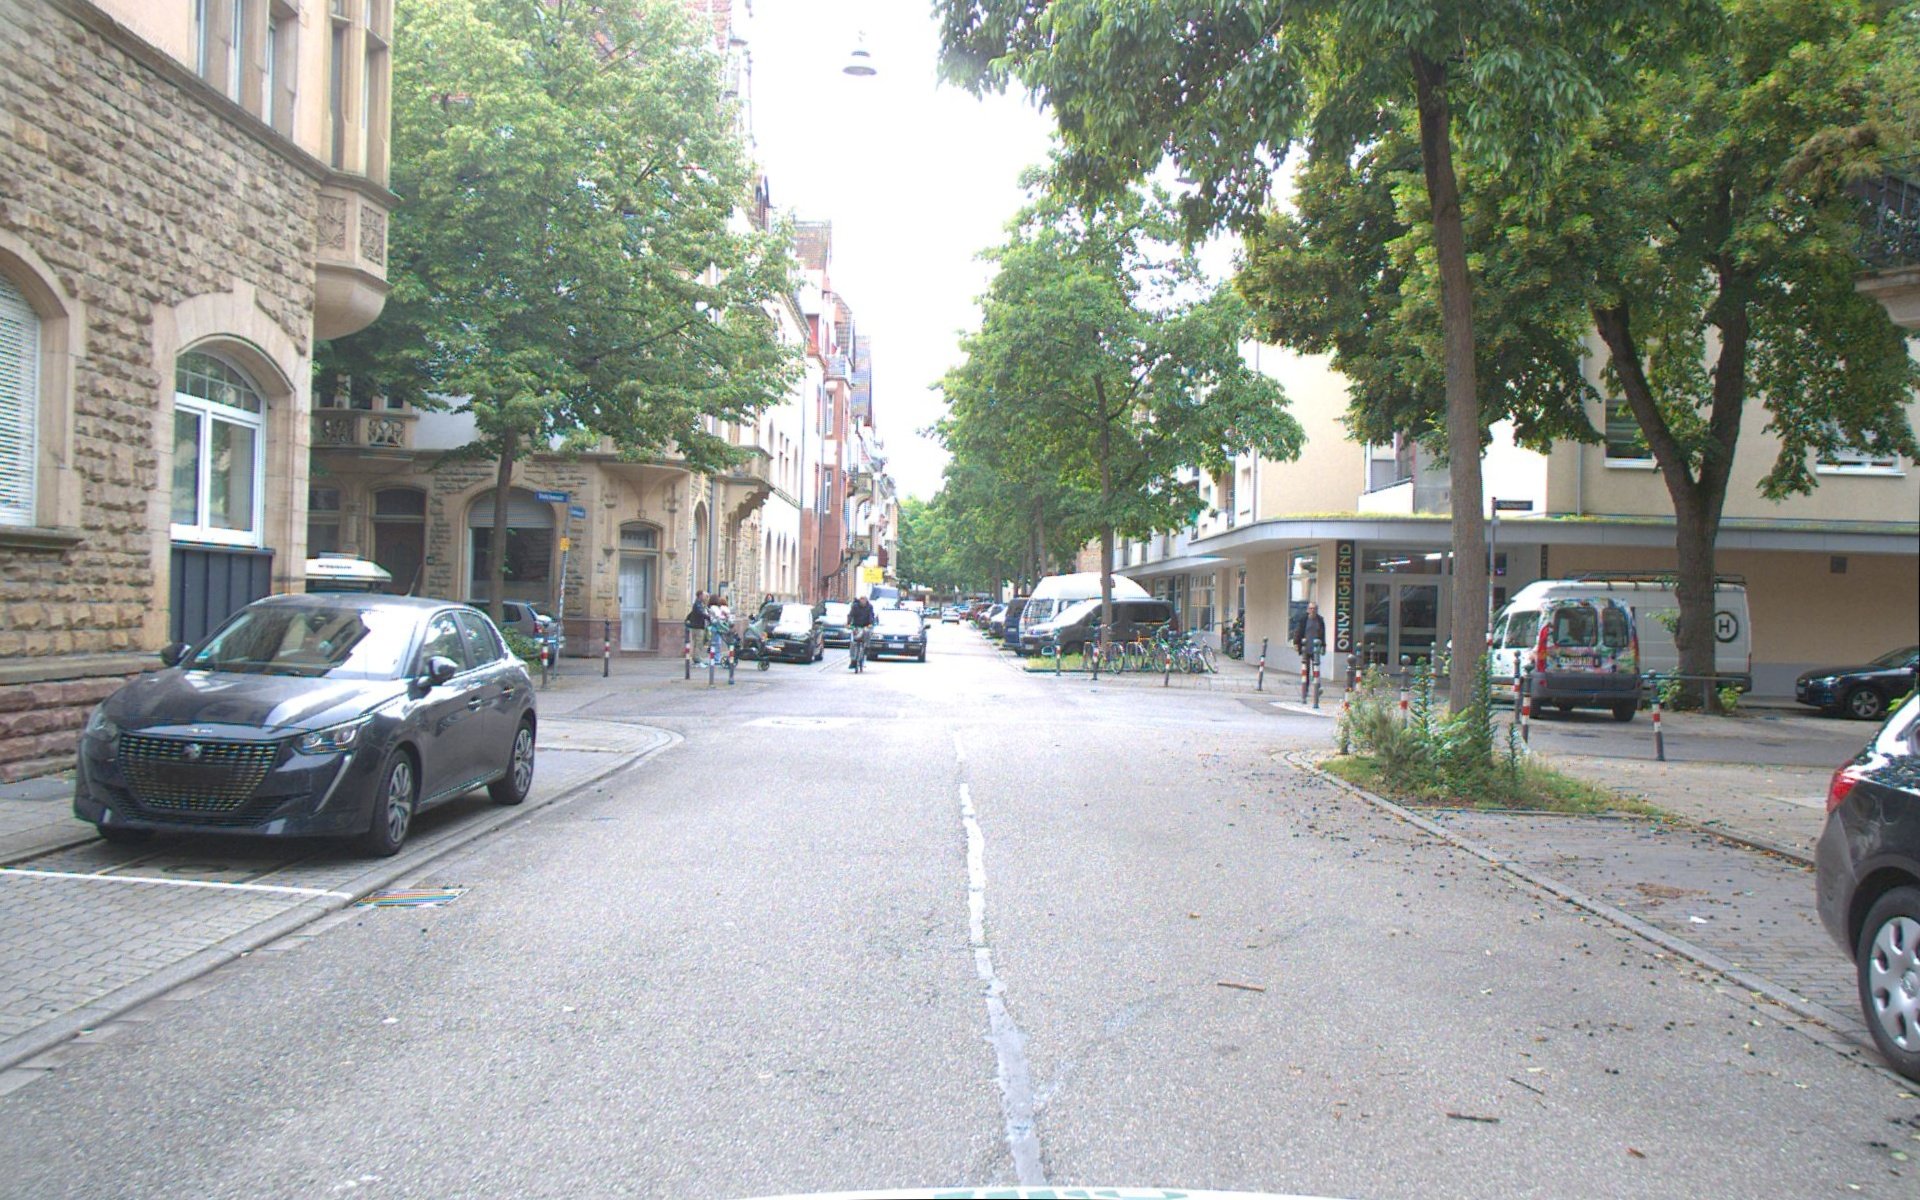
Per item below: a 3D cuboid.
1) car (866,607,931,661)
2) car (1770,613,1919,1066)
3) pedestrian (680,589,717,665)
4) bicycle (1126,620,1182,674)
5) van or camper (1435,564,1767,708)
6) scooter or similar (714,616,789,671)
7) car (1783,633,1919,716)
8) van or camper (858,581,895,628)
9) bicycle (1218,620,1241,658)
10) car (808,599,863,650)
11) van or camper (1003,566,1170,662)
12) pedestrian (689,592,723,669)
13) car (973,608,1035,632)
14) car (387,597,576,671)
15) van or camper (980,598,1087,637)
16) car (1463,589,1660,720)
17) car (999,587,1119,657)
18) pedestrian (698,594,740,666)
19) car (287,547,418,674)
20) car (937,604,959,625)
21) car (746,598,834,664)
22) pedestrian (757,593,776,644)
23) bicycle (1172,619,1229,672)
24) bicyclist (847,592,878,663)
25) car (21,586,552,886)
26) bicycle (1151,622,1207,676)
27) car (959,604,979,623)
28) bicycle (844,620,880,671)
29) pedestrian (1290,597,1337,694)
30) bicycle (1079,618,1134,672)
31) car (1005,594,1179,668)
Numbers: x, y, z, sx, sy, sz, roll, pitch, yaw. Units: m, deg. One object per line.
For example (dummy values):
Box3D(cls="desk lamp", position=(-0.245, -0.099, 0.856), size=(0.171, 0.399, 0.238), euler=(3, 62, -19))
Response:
Box3D(cls="car", position=(-1.688, 0.970, 46.679), size=(1.673, 1.438, 3.852), euler=(1, -1, 0))
Box3D(cls="car", position=(4.092, 0.799, 4.314), size=(1.728, 1.512, 4.479), euler=(-1, 0, 0))
Box3D(cls="pedestrian", position=(-5.867, 0.601, 37.172), size=(0.603, 1.672, 0.604), euler=(2, 0, 12))
Box3D(cls="bicycle", position=(4.486, 1.088, 38.354), size=(0.540, 1.194, 1.717), euler=(1, 0, -22))
Box3D(cls="van or camper", position=(12.348, 0.638, 32.242), size=(5.648, 2.537, 2.138), euler=(1, 3, 8))
Box3D(cls="scooter or similar", position=(-4.593, 0.953, 36.508), size=(1.438, 1.123, 0.676), euler=(3, 0, 11))
Box3D(cls="car", position=(18.012, 1.411, 31.214), size=(4.078, 1.453, 1.908), euler=(1, 0, 12))
Box3D(cls="van or camper", position=(-5.135, 0.240, 102.628), size=(1.967, 2.697, 5.316), euler=(1, 2, 0))
Box3D(cls="bicycle", position=(8.305, 1.189, 50.973), size=(0.474, 1.109, 1.701), euler=(1, 0, 2))
Box3D(cls="car", position=(-4.225, 0.813, 56.462), size=(1.613, 1.598, 2.956), euler=(3, 1, -1))
Box3D(cls="van or camper", position=(3.629, 0.418, 47.237), size=(4.539, 2.641, 1.889), euler=(1, 0, -33))
Box3D(cls="pedestrian", position=(-5.601, 0.667, 36.524), size=(0.516, 1.672, 0.529), euler=(2, 0, 12))
Box3D(cls="car", position=(3.059, 1.390, 115.441), size=(3.970, 1.587, 1.865), euler=(2, -1, -32))
Box3D(cls="car", position=(-10.191, 0.701, 35.308), size=(3.492, 1.485, 1.651), euler=(0, 1, 9))
Box3D(cls="van or camper", position=(3.637, 0.855, 82.022), size=(4.949, 1.902, 2.107), euler=(0, -1, -28))
Box3D(cls="car", position=(9.263, 0.788, 25.812), size=(1.733, 1.851, 4.001), euler=(1, 0, 2))
Box3D(cls="car", position=(3.379, 0.725, 55.817), size=(2.026, 2.235, 4.382), euler=(1, 0, 36))
Box3D(cls="pedestrian", position=(-5.518, 0.690, 37.878), size=(0.620, 1.621, 0.666), euler=(1, 0, 41))
Box3D(cls="car", position=(-10.329, 0.168, 28.359), size=(1.798, 2.002, 3.944), euler=(1, 0, -16))
Box3D(cls="car", position=(-1.108, 1.358, 155.579), size=(1.953, 1.825, 4.000), euler=(3, -1, 0))
Box3D(cls="car", position=(-4.223, 0.791, 41.646), size=(1.674, 1.521, 4.000), euler=(3, -1, 1))
Box3D(cls="pedestrian", position=(-5.943, 0.577, 50.848), size=(0.505, 1.545, 0.546), euler=(1, 0, 0))
Box3D(cls="bicycle", position=(5.665, 1.053, 39.048), size=(0.540, 1.194, 1.686), euler=(1, 0, -22))
Box3D(cls="bicyclist", position=(-2.188, 0.615, 37.212), size=(0.634, 1.565, 0.677), euler=(0, -1, 2))
Box3D(cls="car", position=(-3.936, 0.691, 10.431), size=(1.692, 1.459, 3.881), euler=(3, 0, 0))
Box3D(cls="bicycle", position=(5.108, 1.126, 38.664), size=(0.540, 1.194, 1.717), euler=(1, 0, -22))
Box3D(cls="car", position=(0.997, 1.516, 185.874), size=(1.953, 2.048, 3.999), euler=(4, 0, -1))
Box3D(cls="bicycle", position=(-2.191, 1.015, 37.207), size=(0.620, 1.113, 1.799), euler=(1, -1, 2))
Box3D(cls="pedestrian", position=(6.768, 0.868, 31.681), size=(0.763, 1.828, 0.509), euler=(2, 0, 1))
Box3D(cls="bicycle", position=(3.332, 1.017, 37.783), size=(0.540, 1.194, 1.717), euler=(1, 0, -22))
Box3D(cls="car", position=(3.546, 0.827, 44.319), size=(4.278, 1.886, 1.895), euler=(1, 0, -26))
